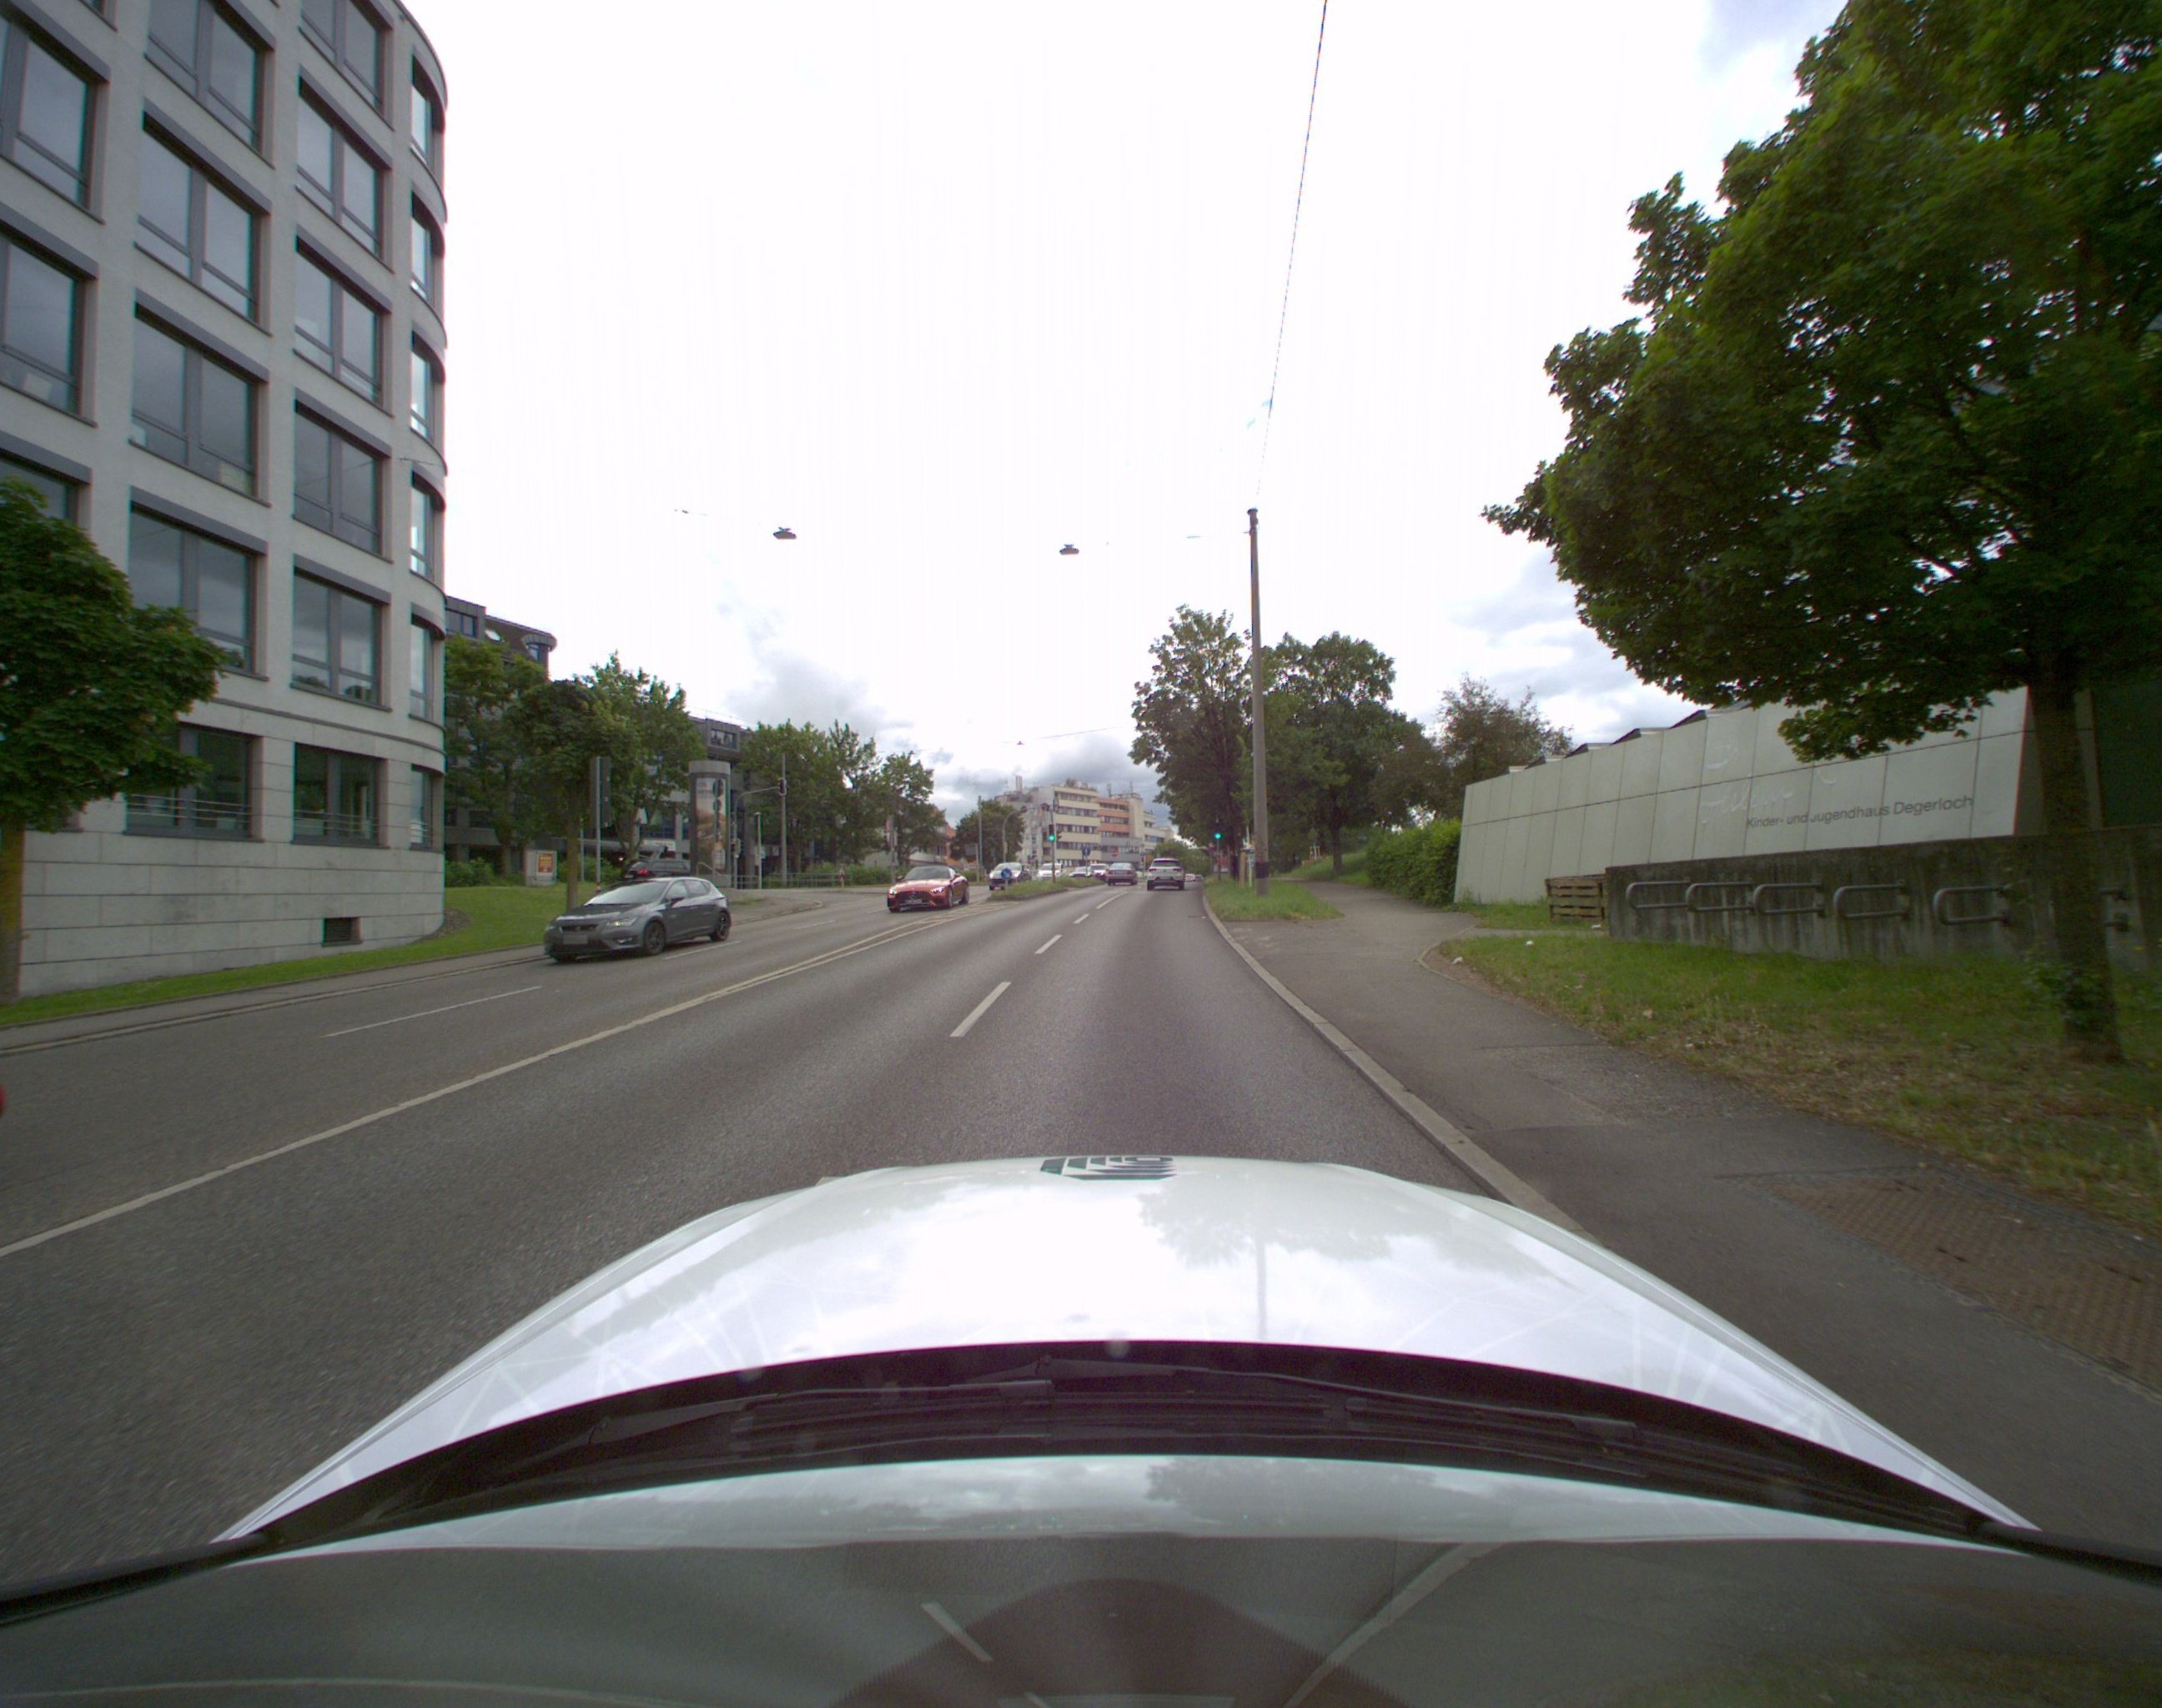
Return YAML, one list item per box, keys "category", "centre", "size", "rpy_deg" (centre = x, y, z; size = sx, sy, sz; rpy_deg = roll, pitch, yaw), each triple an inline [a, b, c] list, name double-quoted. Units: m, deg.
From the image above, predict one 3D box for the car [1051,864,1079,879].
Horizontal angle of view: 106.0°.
- category: "car"
  centre: [-1.486, 1.622, 76.625]
  size: [1.772, 1.379, 3.963]
  rpy_deg: [-1, 0, 12]

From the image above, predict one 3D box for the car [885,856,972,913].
- category: "car"
  centre: [-4.891, 0.939, 26.698]
  size: [1.763, 1.570, 4.288]
  rpy_deg: [-4, 0, 3]

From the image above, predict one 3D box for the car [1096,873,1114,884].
- category: "car"
  centre: [3.326, 3.309, 112.378]
  size: [1.850, 1.428, 4.009]
  rpy_deg: [-2, -1, 9]

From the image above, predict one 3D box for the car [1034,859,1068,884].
- category: "car"
  centre: [-2.001, 1.185, 55.135]
  size: [1.769, 1.565, 4.005]
  rpy_deg: [-2, 0, 4]

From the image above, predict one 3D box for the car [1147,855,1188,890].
- category: "car"
  centre: [4.369, 0.888, 40.596]
  size: [1.689, 1.548, 3.747]
  rpy_deg: [1, 1, 11]

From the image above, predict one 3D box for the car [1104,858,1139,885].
- category: "car"
  centre: [2.558, 1.068, 50.888]
  size: [1.689, 1.516, 3.747]
  rpy_deg: [-2, 1, 10]

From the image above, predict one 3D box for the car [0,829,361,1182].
- category: "car"
  centre: [-6.189, 0.794, 3.608]
  size: [1.863, 1.702, 4.431]
  rpy_deg: [-4, 0, 1]

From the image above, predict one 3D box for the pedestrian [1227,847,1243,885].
- category: "pedestrian"
  centre: [7.660, 0.577, 40.542]
  size: [0.640, 1.856, 0.673]
  rpy_deg: [-2, -1, 2]

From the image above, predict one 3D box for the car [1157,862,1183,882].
- category: "car"
  centre: [6.961, 1.389, 63.926]
  size: [1.693, 1.516, 3.495]
  rpy_deg: [-1, -1, 2]

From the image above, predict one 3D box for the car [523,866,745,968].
- category: "car"
  centre: [-8.341, 1.084, 15.703]
  size: [1.740, 1.494, 4.209]
  rpy_deg: [-4, 0, 2]

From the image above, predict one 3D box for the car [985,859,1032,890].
- category: "car"
  centre: [-3.758, 1.035, 42.949]
  size: [1.769, 1.481, 3.985]
  rpy_deg: [-2, 0, 4]

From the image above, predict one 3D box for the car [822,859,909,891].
- category: "car"
  centre: [-11.235, 1.081, 42.587]
  size: [1.759, 1.544, 4.023]
  rpy_deg: [-2, -1, 45]

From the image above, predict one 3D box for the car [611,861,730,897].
- category: "car"
  centre: [-17.905, 1.057, 35.766]
  size: [1.759, 1.463, 4.466]
  rpy_deg: [0, 0, 26]

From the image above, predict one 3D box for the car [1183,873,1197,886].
- category: "car"
  centre: [14.617, 3.418, 109.304]
  size: [1.762, 1.570, 4.292]
  rpy_deg: [-2, 0, 6]

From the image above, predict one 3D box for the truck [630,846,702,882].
- category: "truck"
  centre: [-28.727, 0.625, 56.456]
  size: [1.975, 2.387, 4.024]
  rpy_deg: [0, 0, 27]

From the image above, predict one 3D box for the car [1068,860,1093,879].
- category: "car"
  centre: [-0.022, 1.317, 69.411]
  size: [1.769, 1.481, 4.486]
  rpy_deg: [-2, 0, 4]

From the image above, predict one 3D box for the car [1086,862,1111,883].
- category: "car"
  centre: [1.787, 1.784, 80.227]
  size: [1.825, 2.002, 4.870]
  rpy_deg: [-1, 0, 9]
